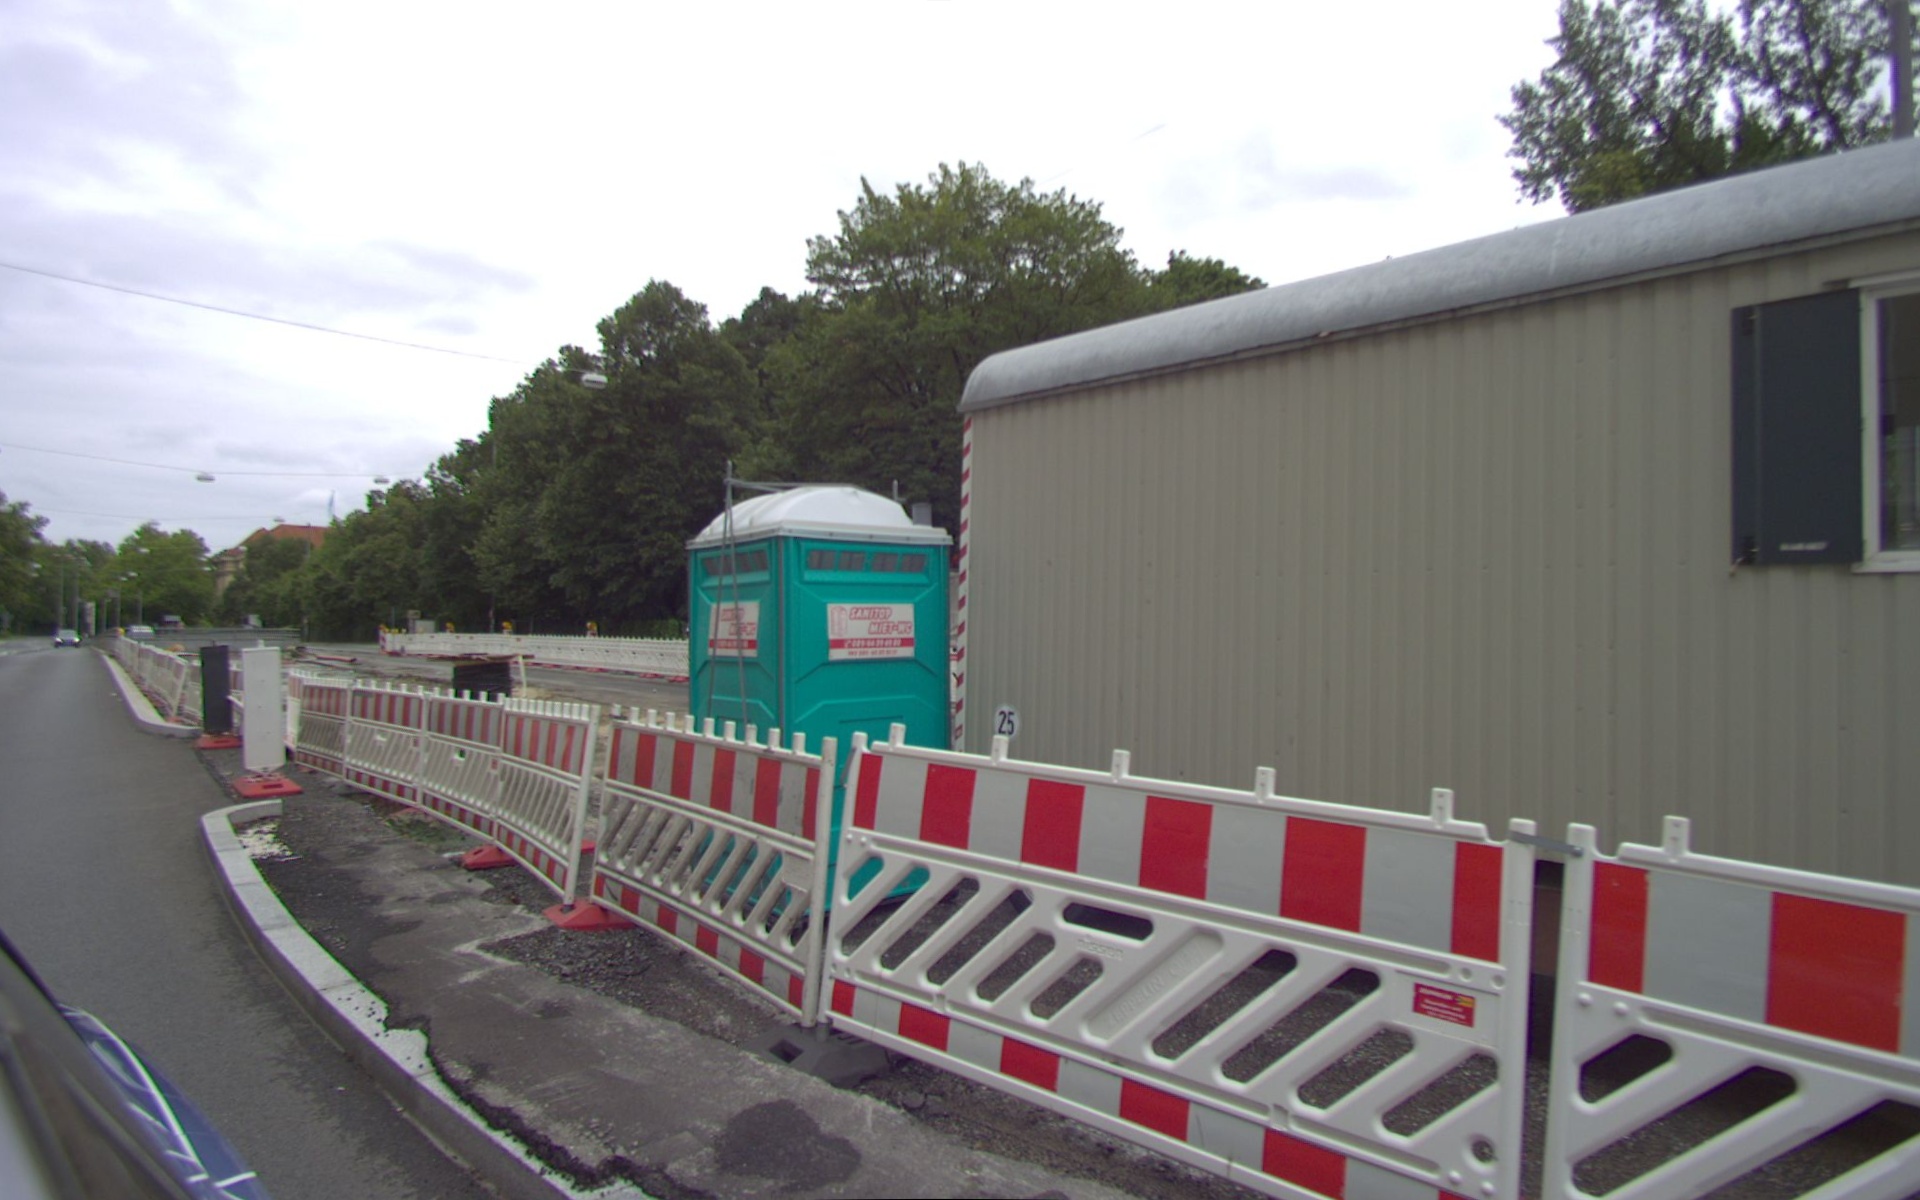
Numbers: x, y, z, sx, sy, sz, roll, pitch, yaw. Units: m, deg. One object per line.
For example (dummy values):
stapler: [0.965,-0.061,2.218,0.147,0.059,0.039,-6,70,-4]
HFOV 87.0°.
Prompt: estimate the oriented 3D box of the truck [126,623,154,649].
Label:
truck: [-88.172,3.848,108.789,2.028,2.661,4.417,2,-3,-43]

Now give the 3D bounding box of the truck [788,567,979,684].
truck: [-2.166,0.694,26.754,1.969,2.749,5.879,1,-2,-40]

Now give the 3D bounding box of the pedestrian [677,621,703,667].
pedestrian: [-9.483,1.535,35.575,0.655,1.615,0.699,1,-2,-40]

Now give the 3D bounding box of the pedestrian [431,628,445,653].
pedestrian: [-35.201,2.719,68.250,0.655,1.653,0.699,1,-2,-40]

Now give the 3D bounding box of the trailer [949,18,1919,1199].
trailer: [3.400,0.042,3.592,7.521,3.268,2.202,-2,-3,44]

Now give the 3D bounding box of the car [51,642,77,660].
car: [-93.196,5.326,105.225,1.970,1.762,4.004,1,-2,-43]
